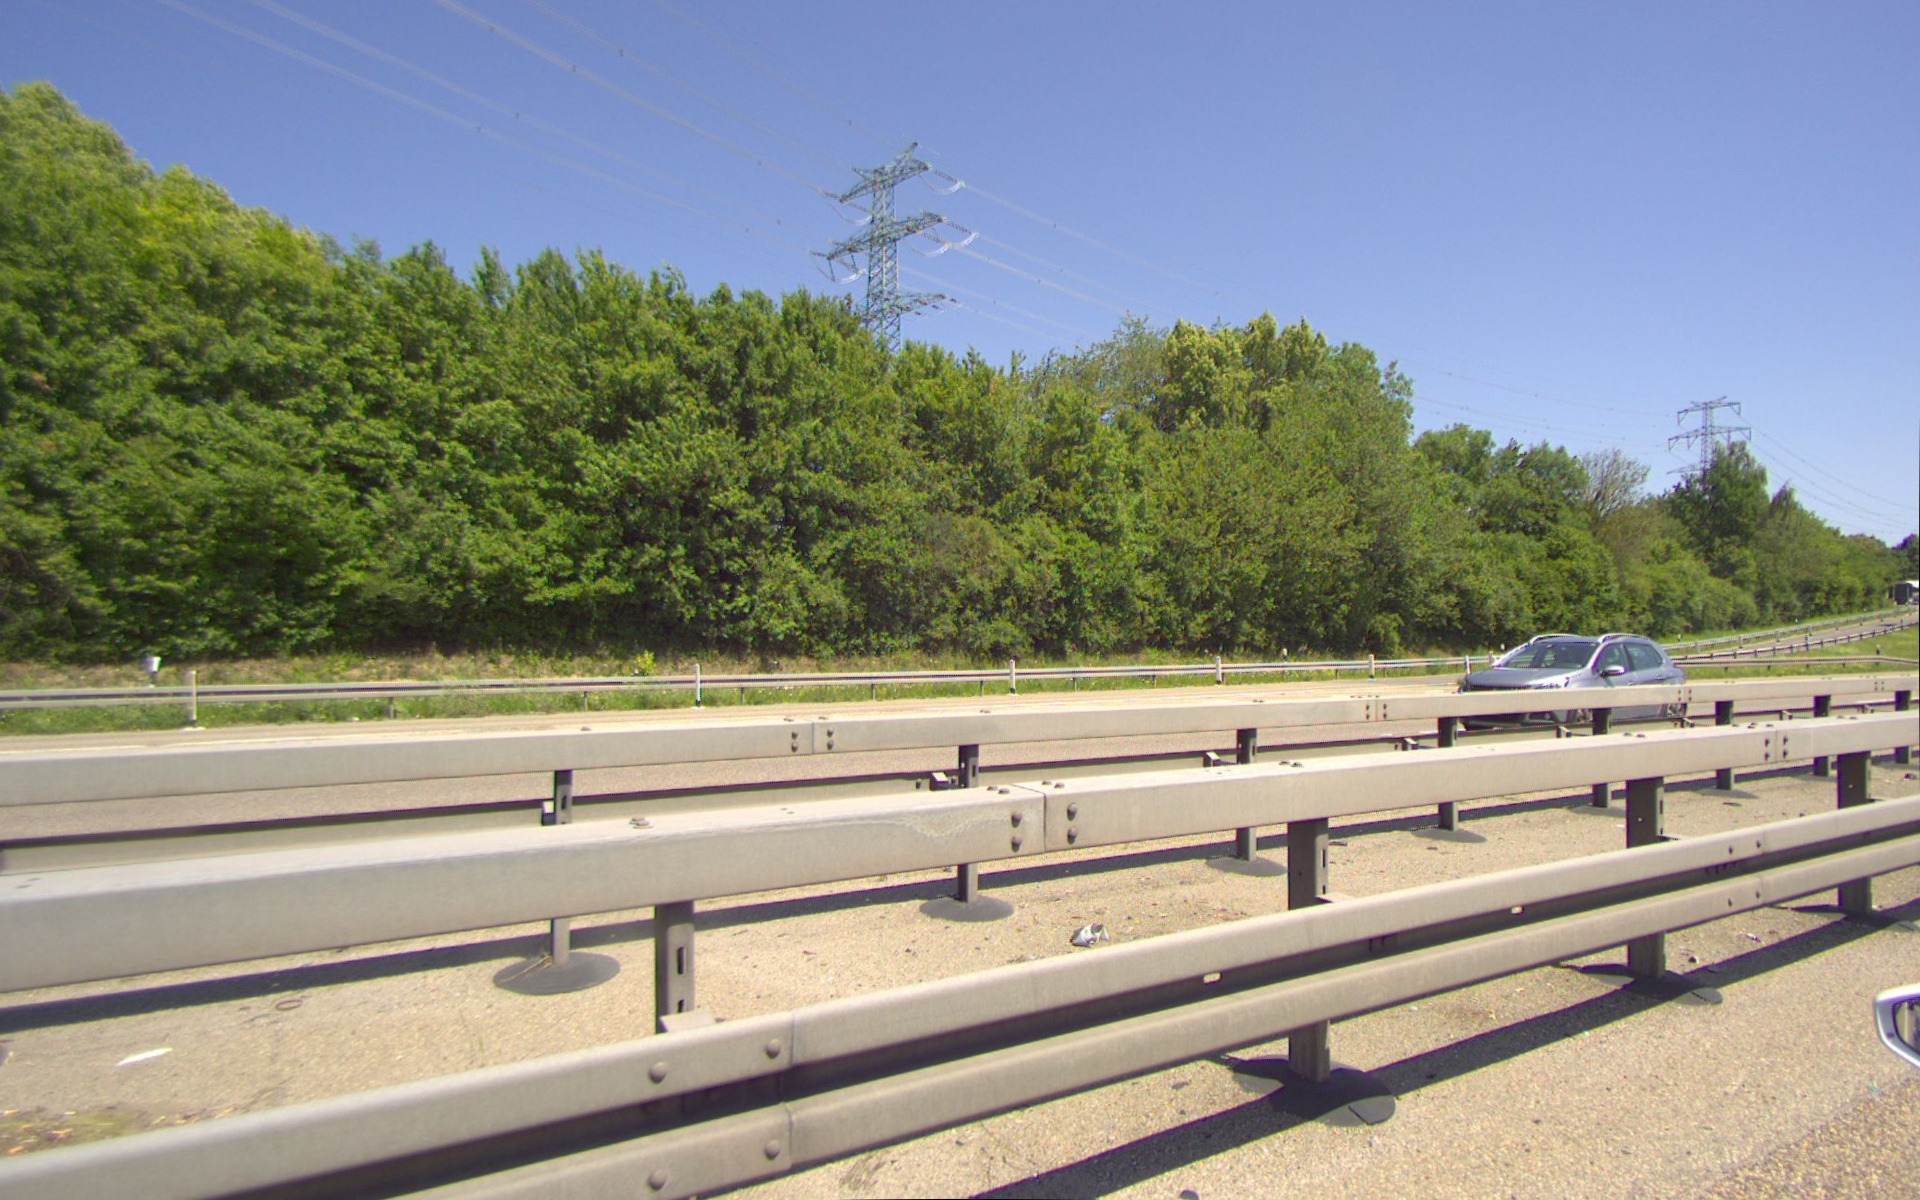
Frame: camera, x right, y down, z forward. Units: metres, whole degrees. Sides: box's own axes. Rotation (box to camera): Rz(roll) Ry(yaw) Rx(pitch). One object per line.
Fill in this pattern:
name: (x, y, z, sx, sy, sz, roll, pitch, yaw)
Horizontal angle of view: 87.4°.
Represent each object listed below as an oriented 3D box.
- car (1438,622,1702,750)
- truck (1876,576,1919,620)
car: (9.274, 1.235, 15.221, 3.905, 1.652, 1.764, 2, 0, -31)
truck: (164.046, -0.267, 174.283, 4.604, 7.324, 13.615, 2, 0, 30)
